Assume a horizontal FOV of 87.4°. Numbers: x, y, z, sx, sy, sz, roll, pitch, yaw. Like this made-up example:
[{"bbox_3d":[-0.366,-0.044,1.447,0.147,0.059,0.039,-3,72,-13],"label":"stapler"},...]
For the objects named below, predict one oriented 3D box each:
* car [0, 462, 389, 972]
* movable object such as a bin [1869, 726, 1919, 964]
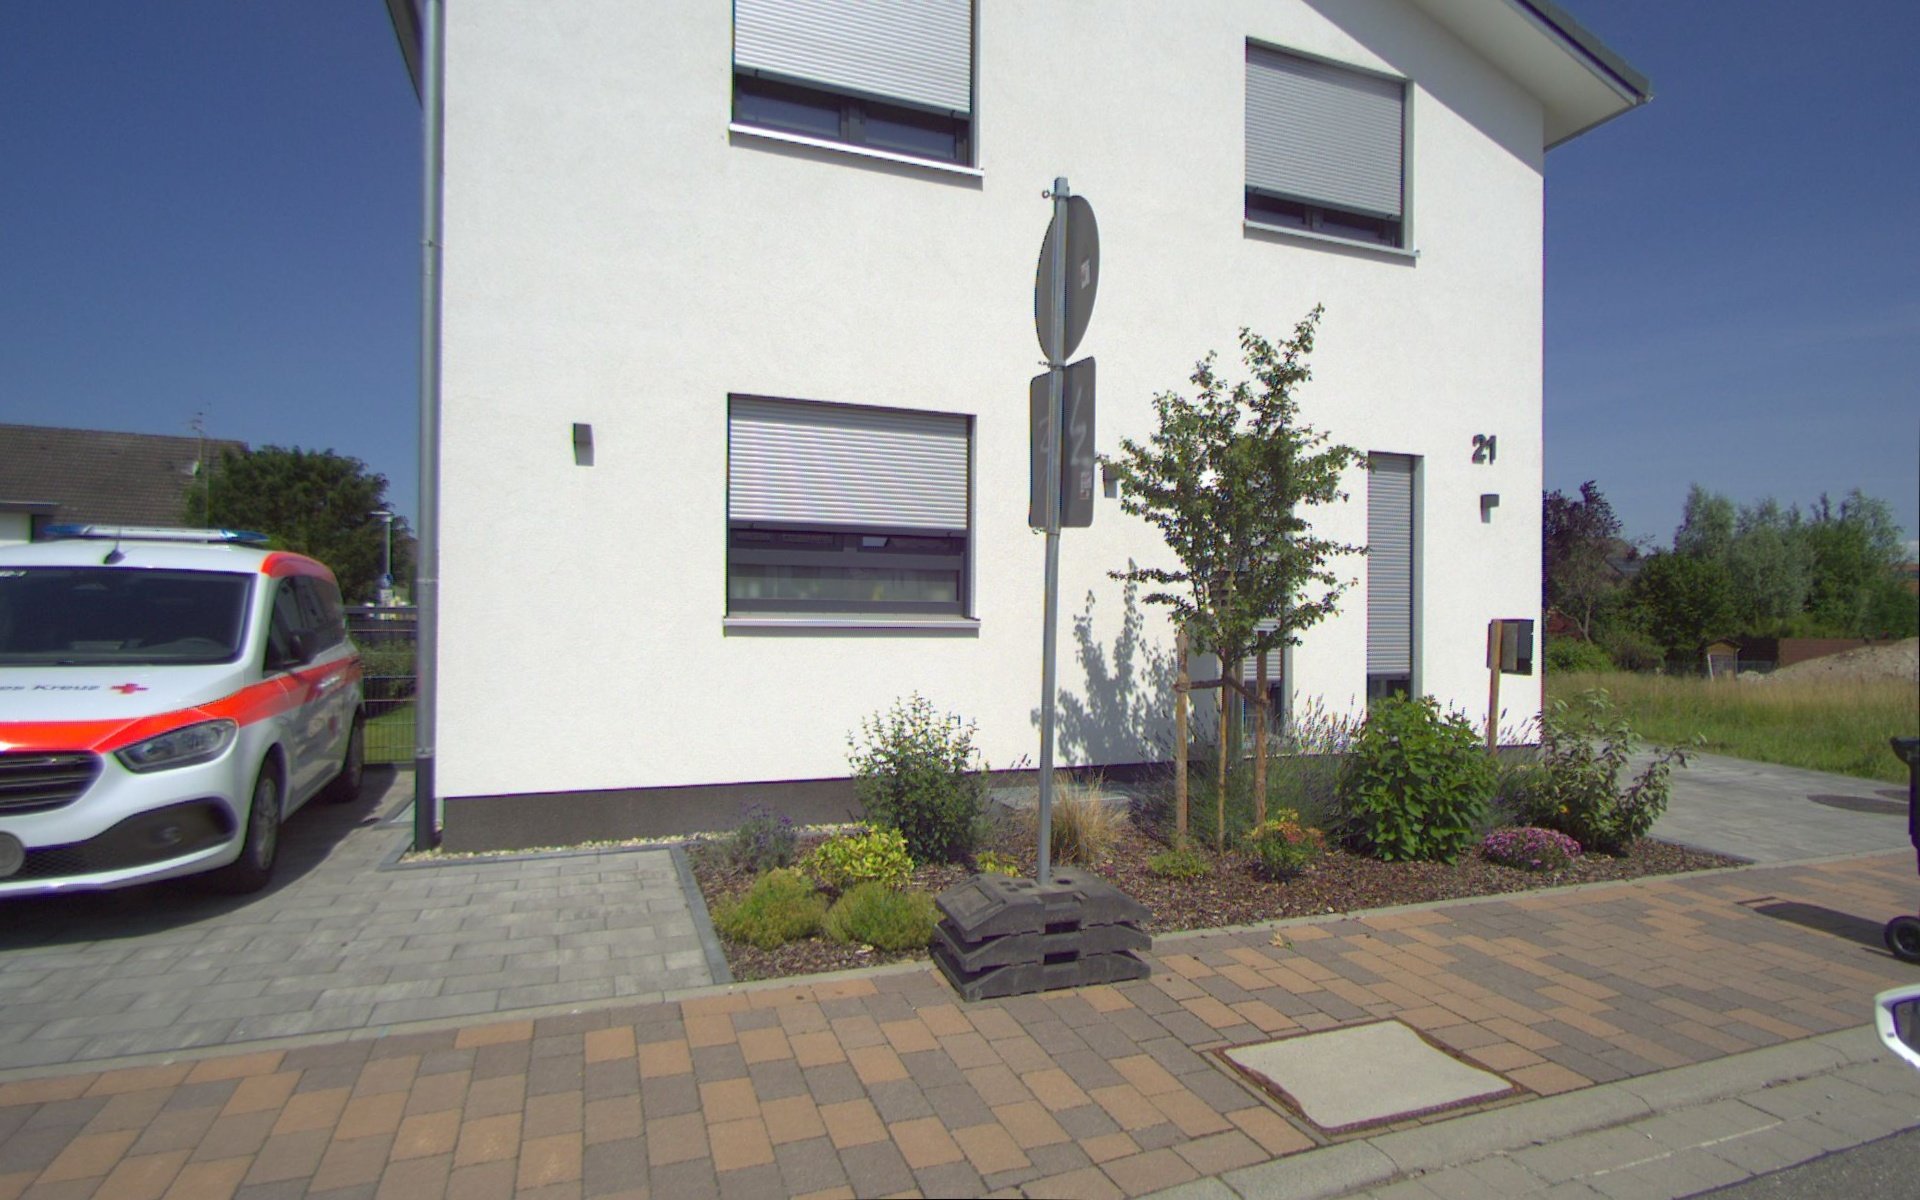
[{"bbox_3d":[-4.740,0.486,5.815,1.911,1.899,4.726,1,-2,-23],"label":"car"},{"bbox_3d":[4.268,1.035,4.147,0.493,0.961,0.621,2,-1,-25],"label":"movable object such as a bin"}]
